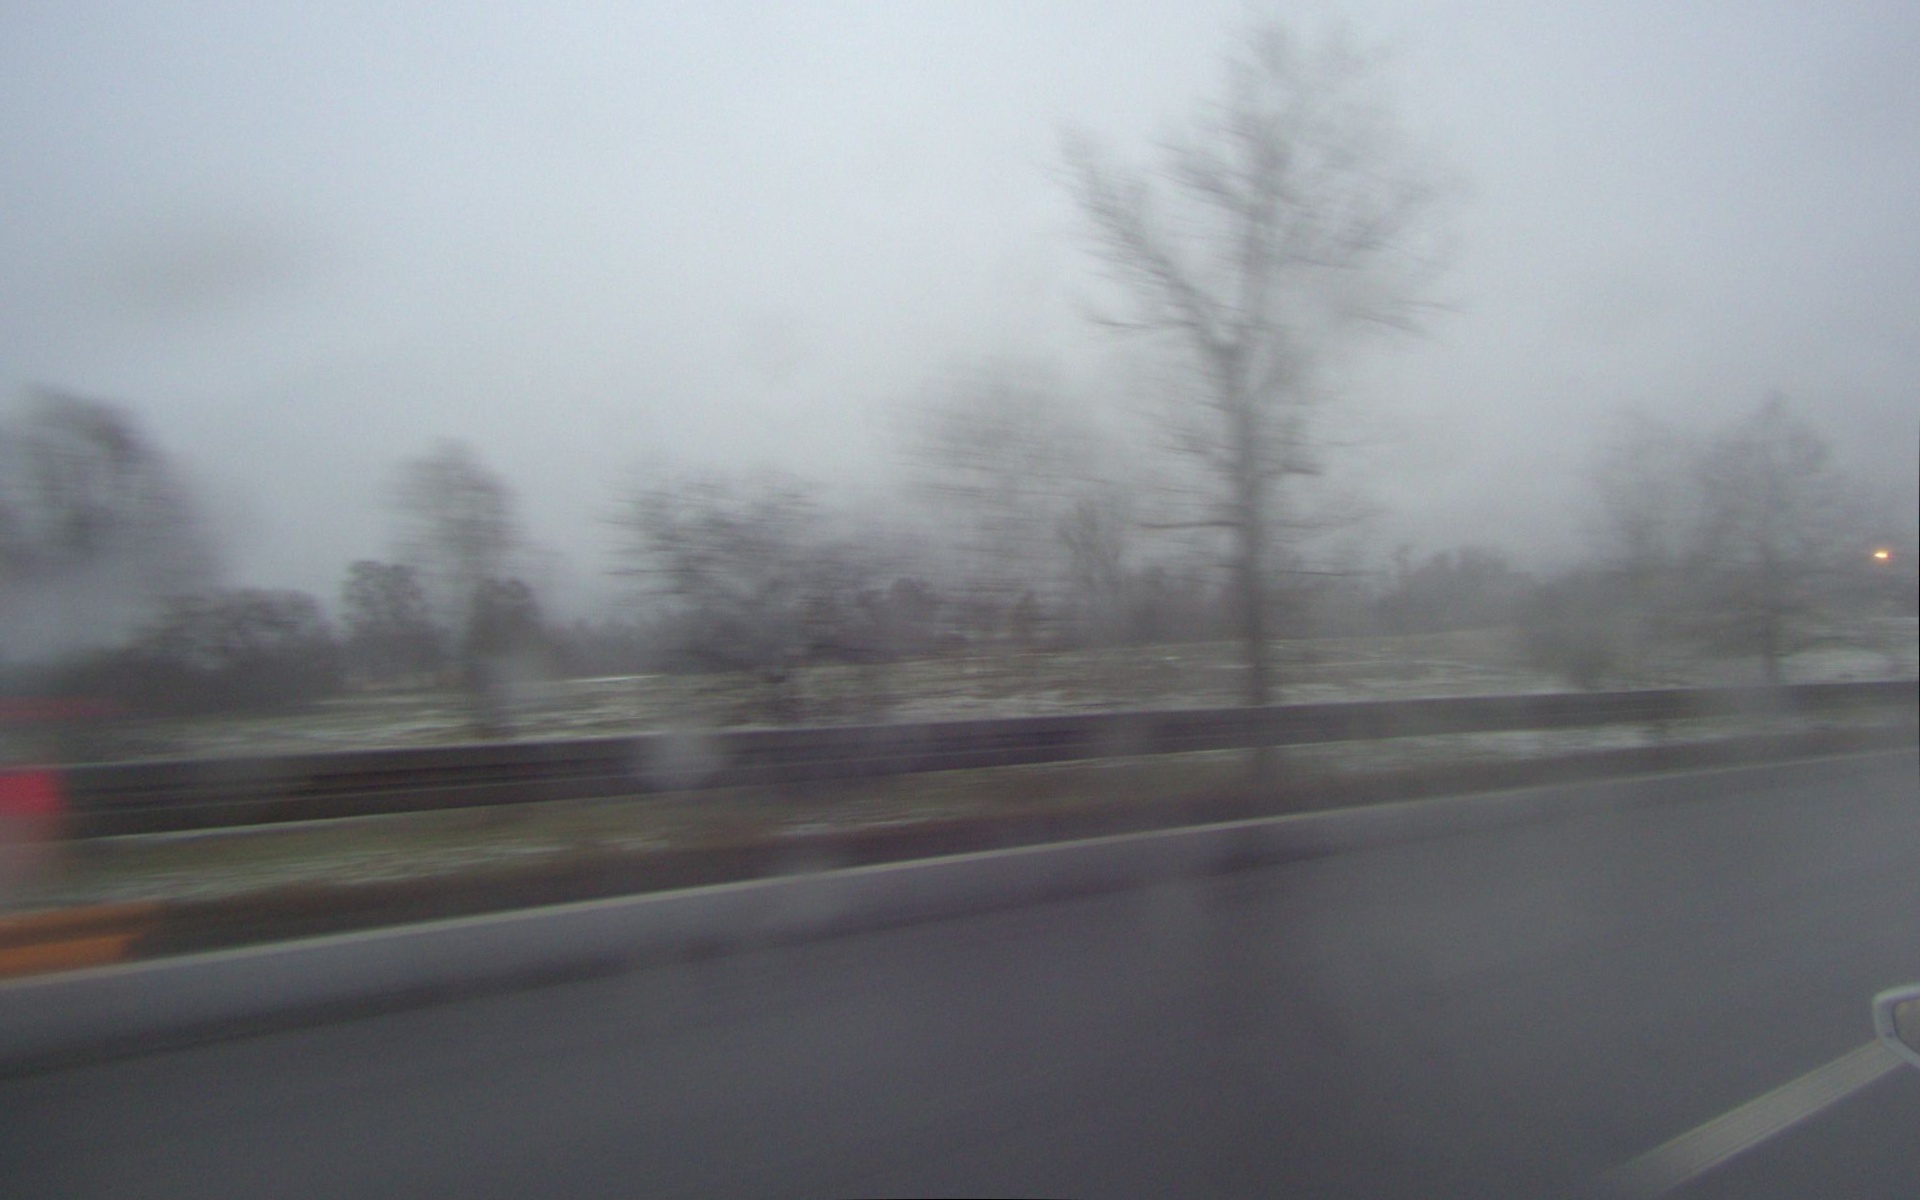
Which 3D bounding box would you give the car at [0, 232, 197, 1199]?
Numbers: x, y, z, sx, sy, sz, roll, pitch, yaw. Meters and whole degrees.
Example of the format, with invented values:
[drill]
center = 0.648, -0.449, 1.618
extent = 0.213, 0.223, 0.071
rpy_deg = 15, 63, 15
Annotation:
[car]
center = -4.074, 0.356, 1.080
extent = 4.947, 1.888, 1.874
rpy_deg = 1, -1, -30
